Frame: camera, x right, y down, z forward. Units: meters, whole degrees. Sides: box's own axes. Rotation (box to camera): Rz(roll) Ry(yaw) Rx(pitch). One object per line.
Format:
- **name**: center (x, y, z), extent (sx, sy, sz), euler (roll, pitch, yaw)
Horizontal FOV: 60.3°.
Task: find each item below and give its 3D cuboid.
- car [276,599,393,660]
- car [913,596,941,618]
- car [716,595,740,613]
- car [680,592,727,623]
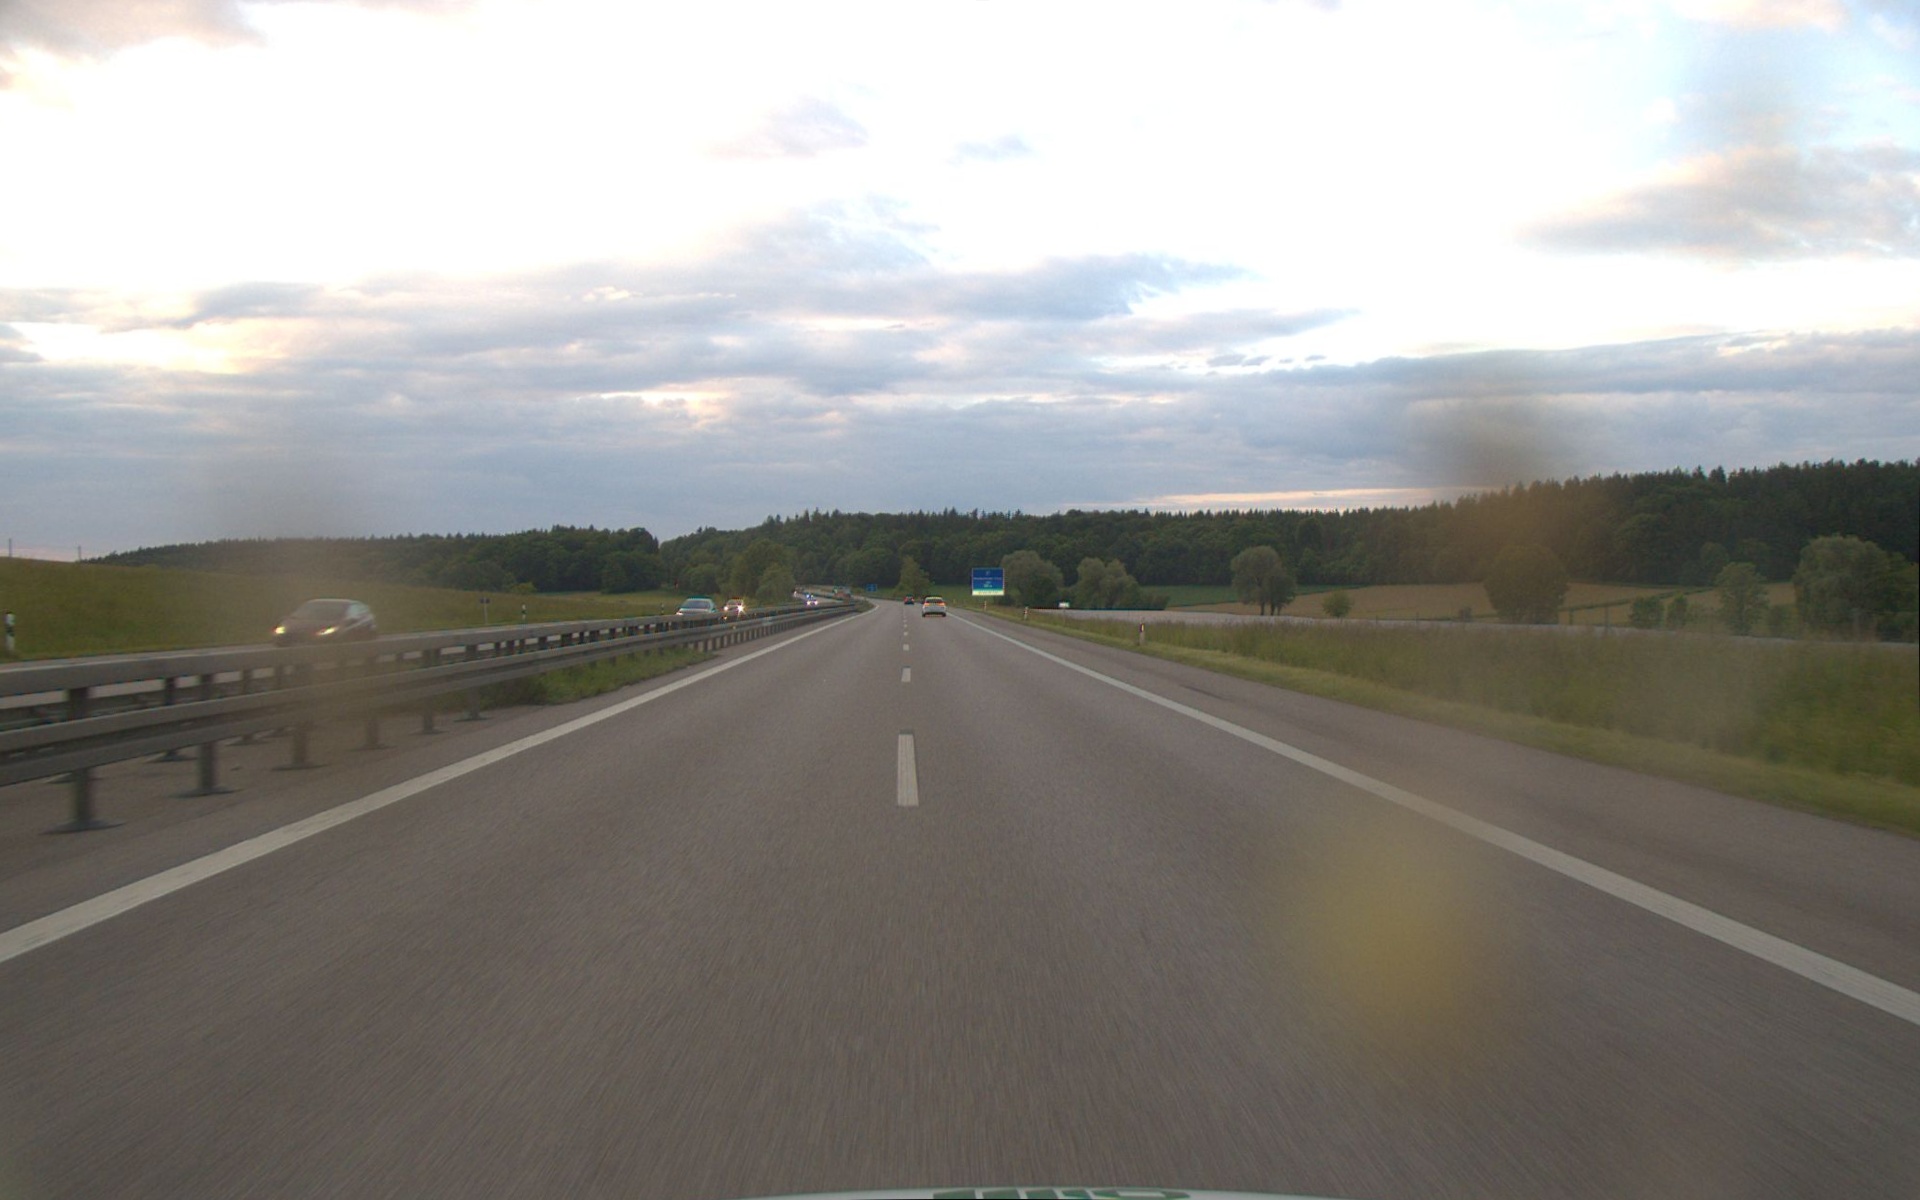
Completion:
- **car**: center (-16.280, 0.733, 43.242), extent (1.497, 1.458, 4.432), euler (1, 0, -2)
- **car**: center (-2.525, 0.550, 125.894), extent (1.913, 1.558, 4.077), euler (1, 0, -4)
- **car**: center (-20.272, 0.349, 144.609), extent (1.640, 1.384, 4.009), euler (3, 0, -3)
- **car**: center (-13.311, 0.367, 86.172), extent (1.703, 1.482, 5.120), euler (1, 0, -1)
